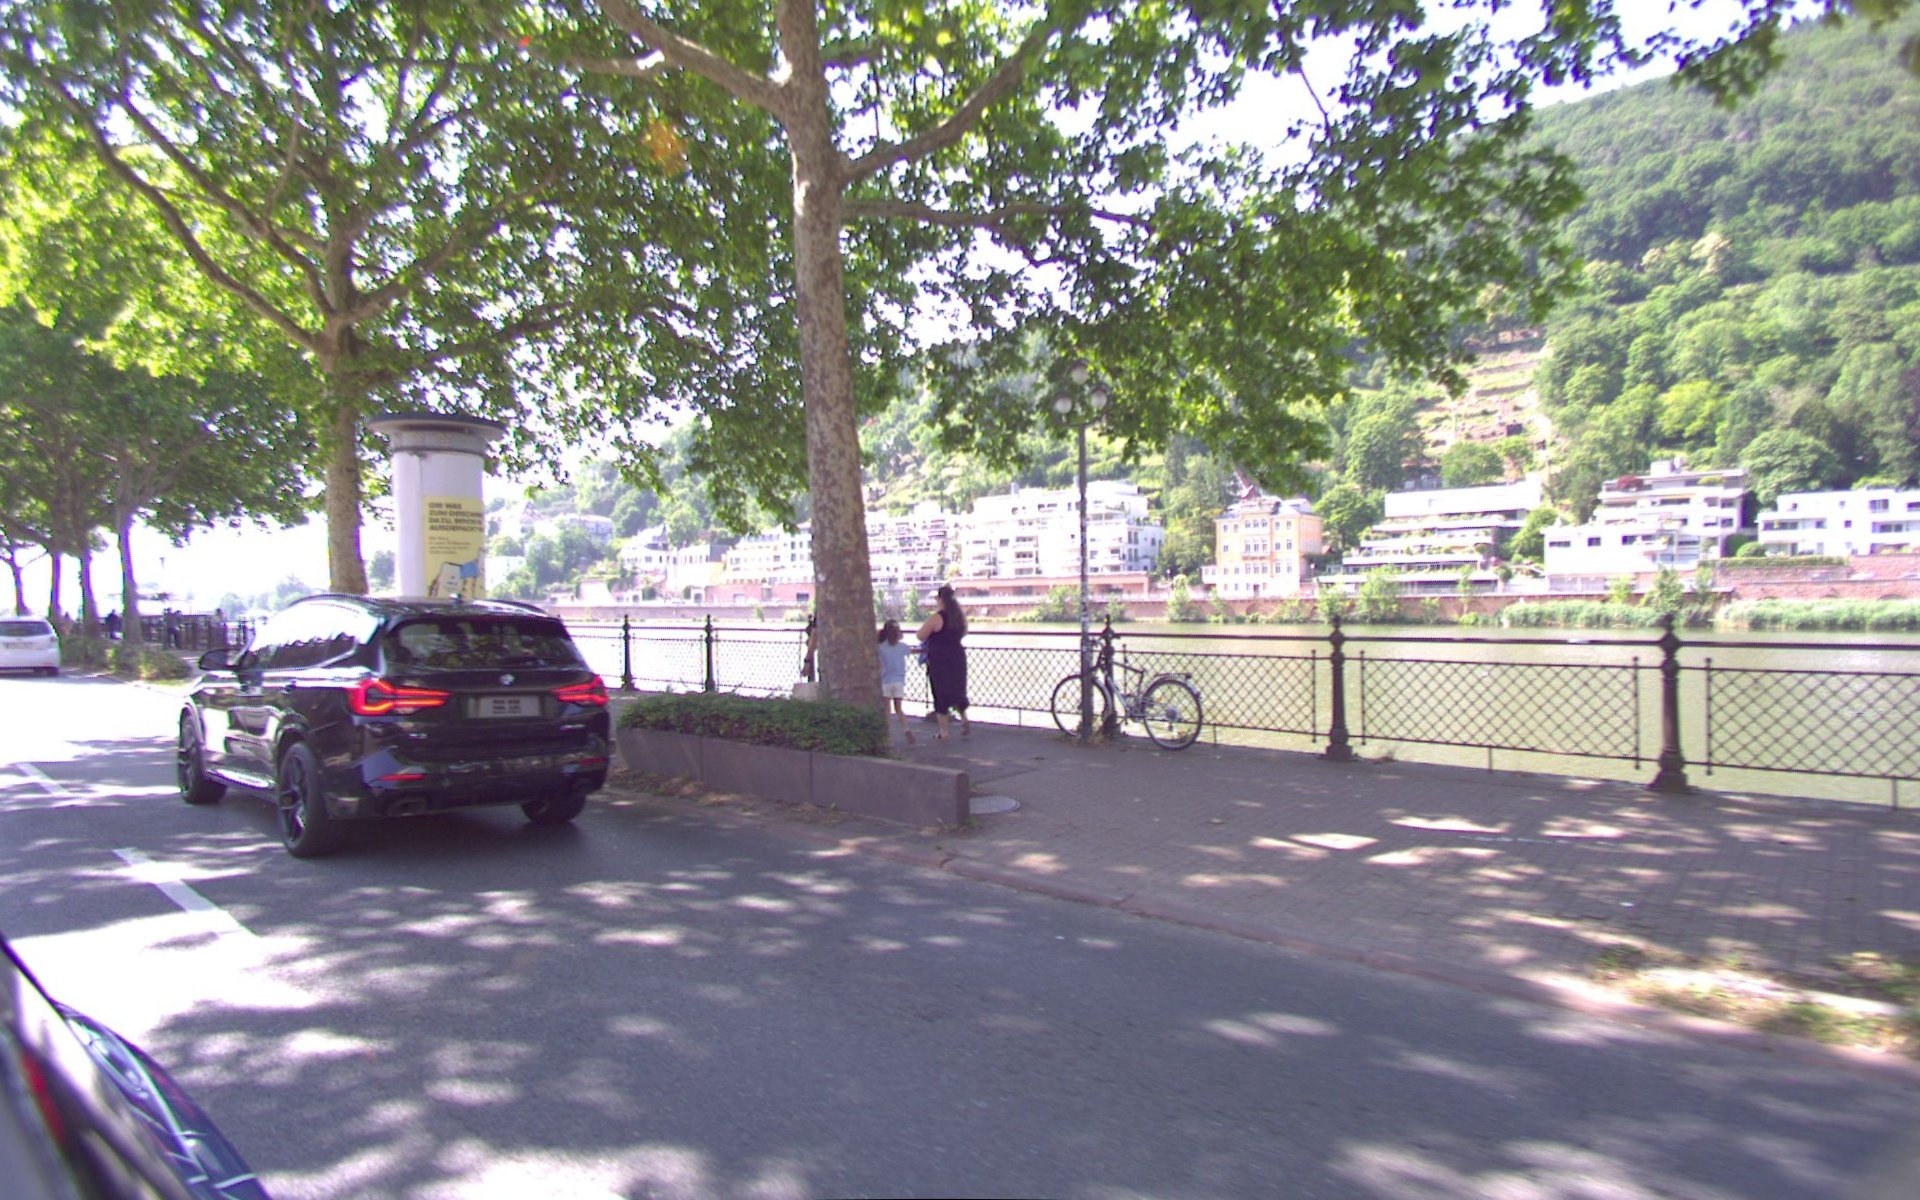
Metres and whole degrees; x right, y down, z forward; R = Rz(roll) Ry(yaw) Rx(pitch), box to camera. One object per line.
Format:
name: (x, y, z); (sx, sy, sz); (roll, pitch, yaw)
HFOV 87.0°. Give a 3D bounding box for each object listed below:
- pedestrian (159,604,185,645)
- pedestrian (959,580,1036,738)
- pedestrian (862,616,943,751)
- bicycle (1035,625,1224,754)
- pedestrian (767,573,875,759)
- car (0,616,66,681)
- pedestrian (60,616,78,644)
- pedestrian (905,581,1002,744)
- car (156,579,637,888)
pedestrian: (-33.536, 1.044, 43.060); (0.729, 1.719, 0.750); (-1, 0, 41)
pedestrian: (0.408, 0.617, 10.930); (0.552, 1.640, 0.625); (-1, 0, 41)
pedestrian: (-0.593, 0.843, 10.532); (0.552, 1.330, 0.625); (-1, 0, 41)
bicycle: (1.680, 0.857, 10.250); (1.843, 1.161, 0.557); (-1, 2, 41)
pedestrian: (-1.374, 0.616, 10.016); (0.729, 1.743, 0.750); (-1, 0, 41)
car: (-25.914, 1.268, 27.460); (4.256, 1.620, 1.973); (-1, 0, 41)
pedestrian: (-55.019, 1.824, 62.475); (0.730, 1.719, 0.750); (-2, -1, 44)
pedestrian: (-0.070, 0.646, 11.050); (0.709, 1.696, 0.783); (-1, 0, 41)
car: (-4.572, 0.800, 7.827); (4.744, 1.684, 1.850); (-2, -2, 42)
